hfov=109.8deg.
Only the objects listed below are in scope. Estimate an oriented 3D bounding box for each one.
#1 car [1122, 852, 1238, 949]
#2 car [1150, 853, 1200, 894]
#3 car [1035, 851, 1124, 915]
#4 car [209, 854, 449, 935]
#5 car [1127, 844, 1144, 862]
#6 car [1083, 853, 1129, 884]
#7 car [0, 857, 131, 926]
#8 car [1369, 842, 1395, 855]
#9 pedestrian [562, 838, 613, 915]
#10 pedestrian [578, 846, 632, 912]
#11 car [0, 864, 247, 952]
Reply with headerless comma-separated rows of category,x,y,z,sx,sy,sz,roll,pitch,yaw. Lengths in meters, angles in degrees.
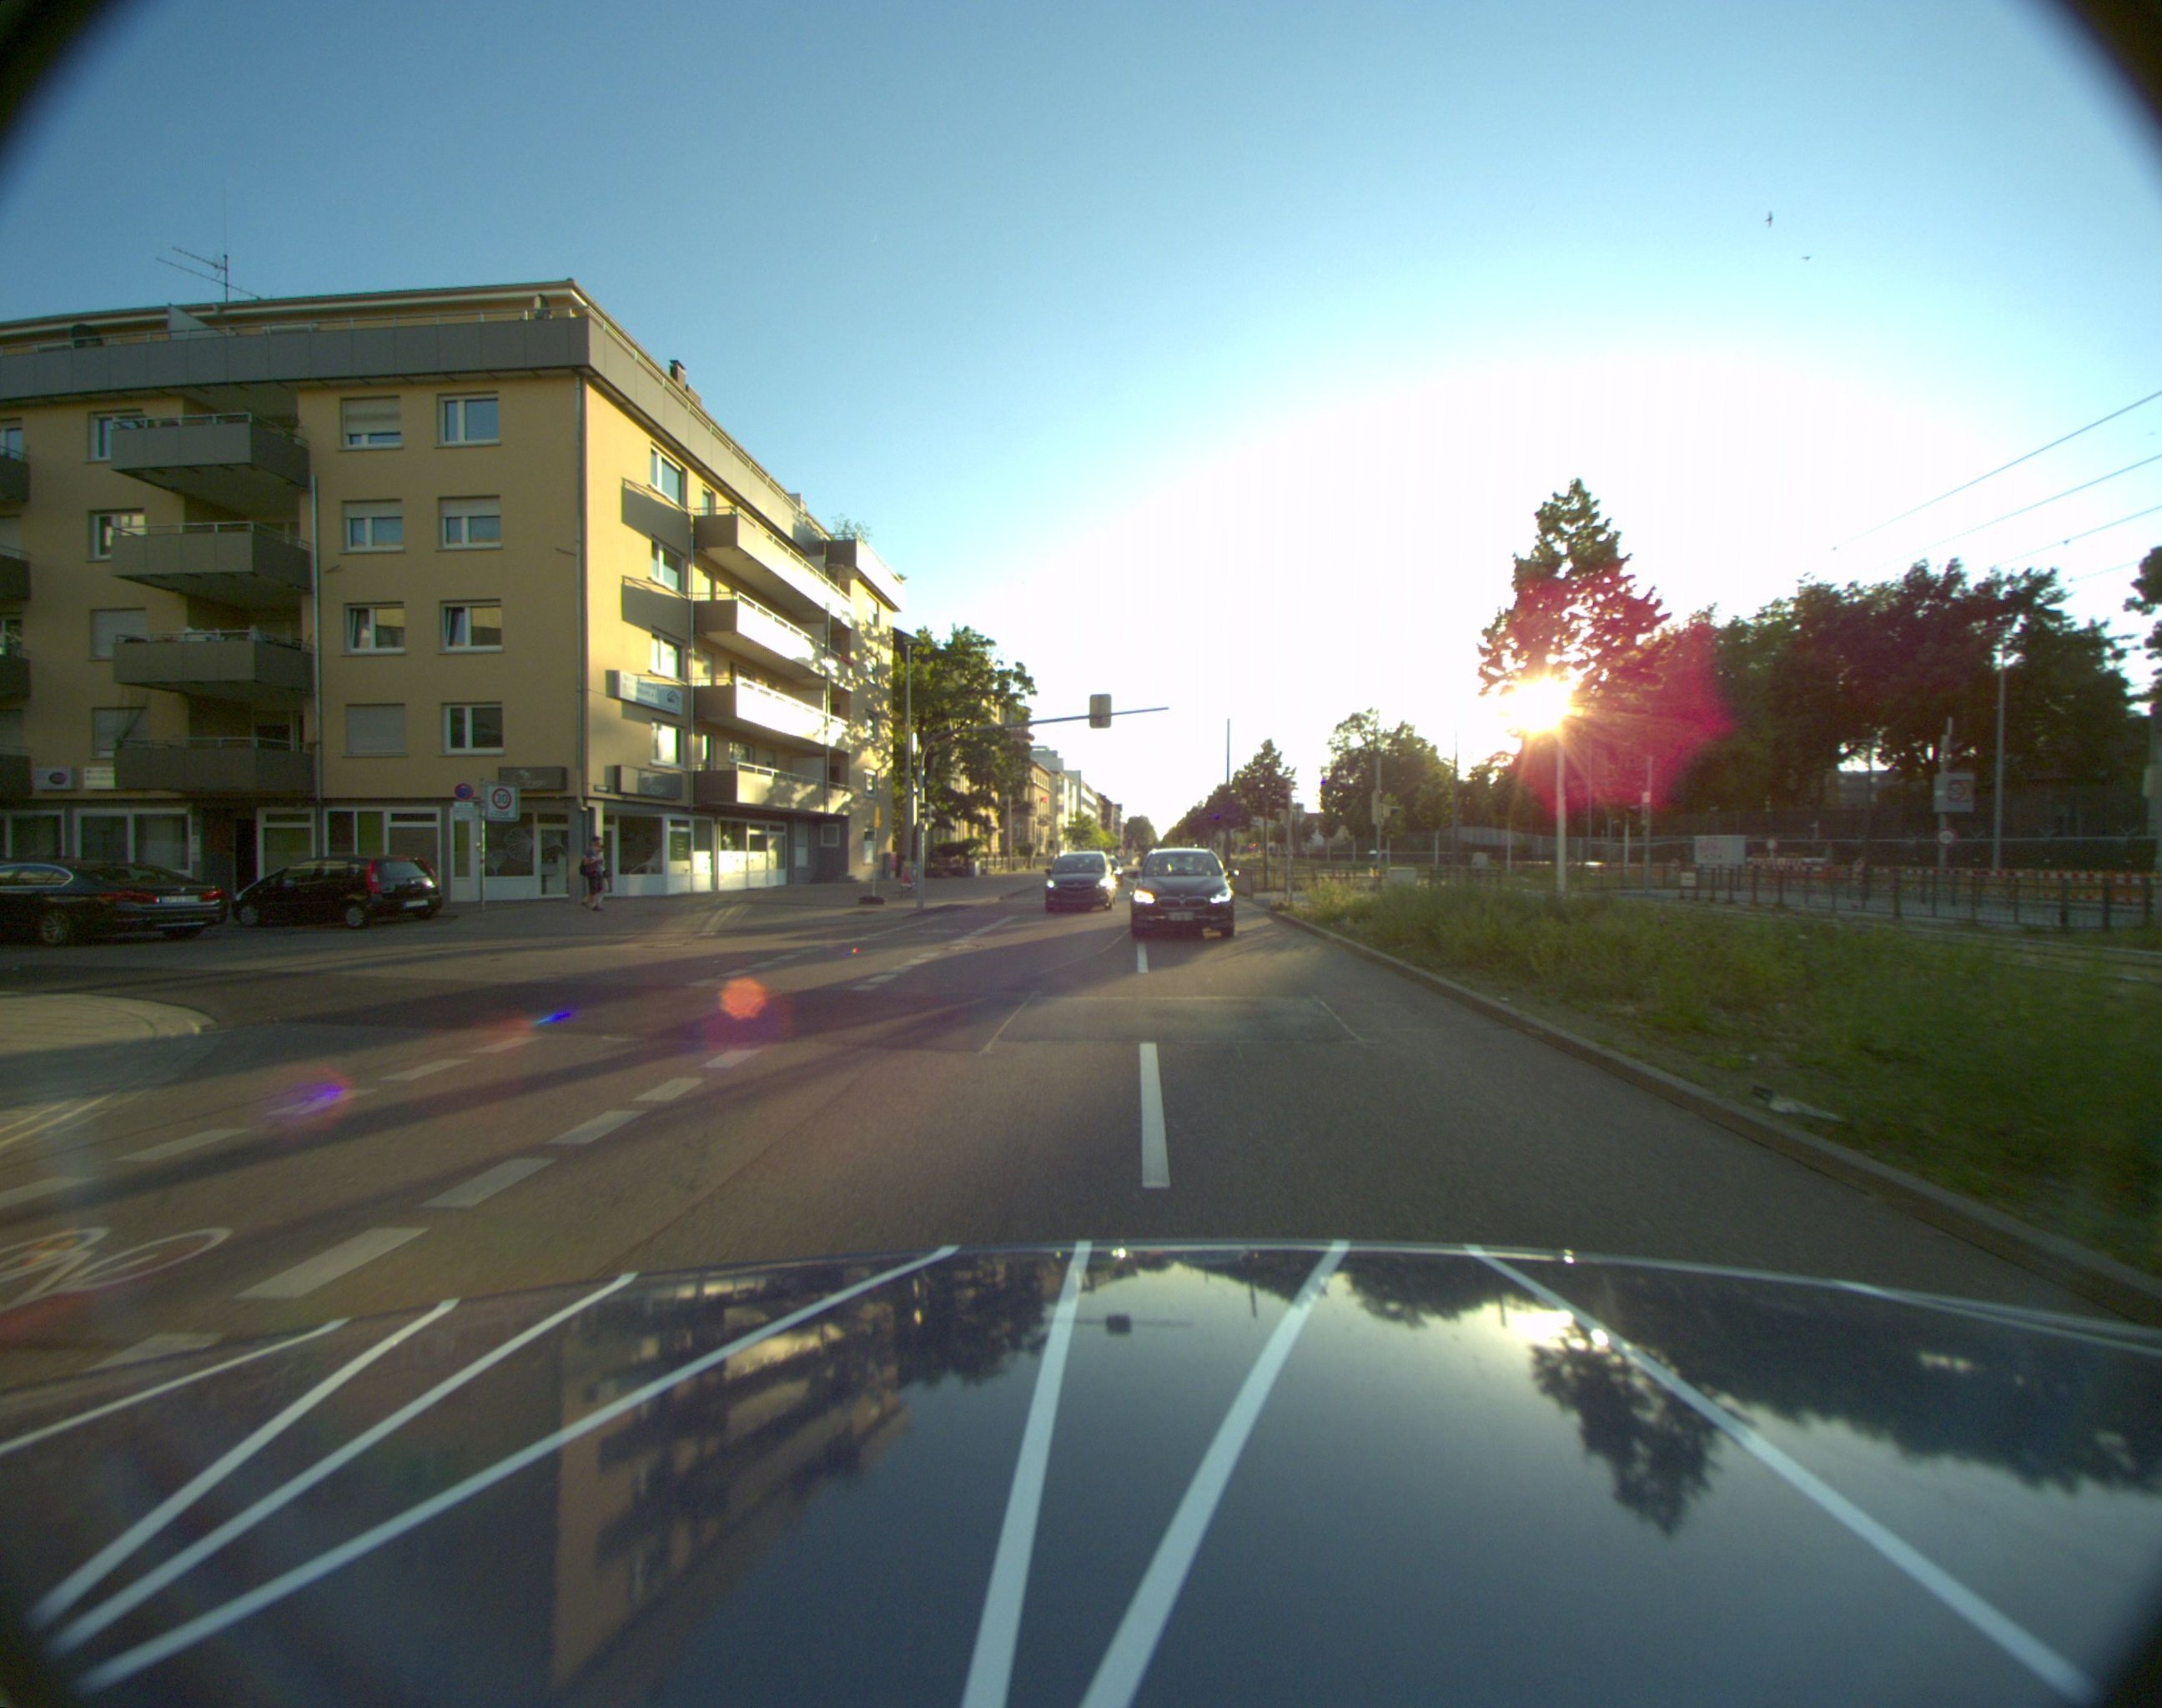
car,1.907,0.754,14.708,1.824,1.510,4.794,-2,0,7
car,3.770,0.747,31.147,1.832,1.455,4.304,-2,0,5
car,0.077,0.735,21.644,1.826,1.589,4.370,-2,0,9
car,-16.464,0.840,16.743,3.811,1.552,1.615,0,4,6
car,6.300,-0.107,87.844,1.726,1.910,4.295,-2,0,2
car,1.366,0.709,39.072,1.914,1.387,4.279,-2,0,7
car,-25.323,0.836,17.700,4.225,1.433,1.655,0,4,1
car,36.141,-0.657,91.325,1.848,1.551,3.801,-2,0,5
pedestrian,-12.031,0.531,18.525,0.839,1.849,0.544,0,2,6
pedestrian,-12.053,0.616,19.250,0.821,1.606,0.767,0,2,7
car,-18.112,0.919,13.589,4.617,1.460,1.807,0,-1,4
